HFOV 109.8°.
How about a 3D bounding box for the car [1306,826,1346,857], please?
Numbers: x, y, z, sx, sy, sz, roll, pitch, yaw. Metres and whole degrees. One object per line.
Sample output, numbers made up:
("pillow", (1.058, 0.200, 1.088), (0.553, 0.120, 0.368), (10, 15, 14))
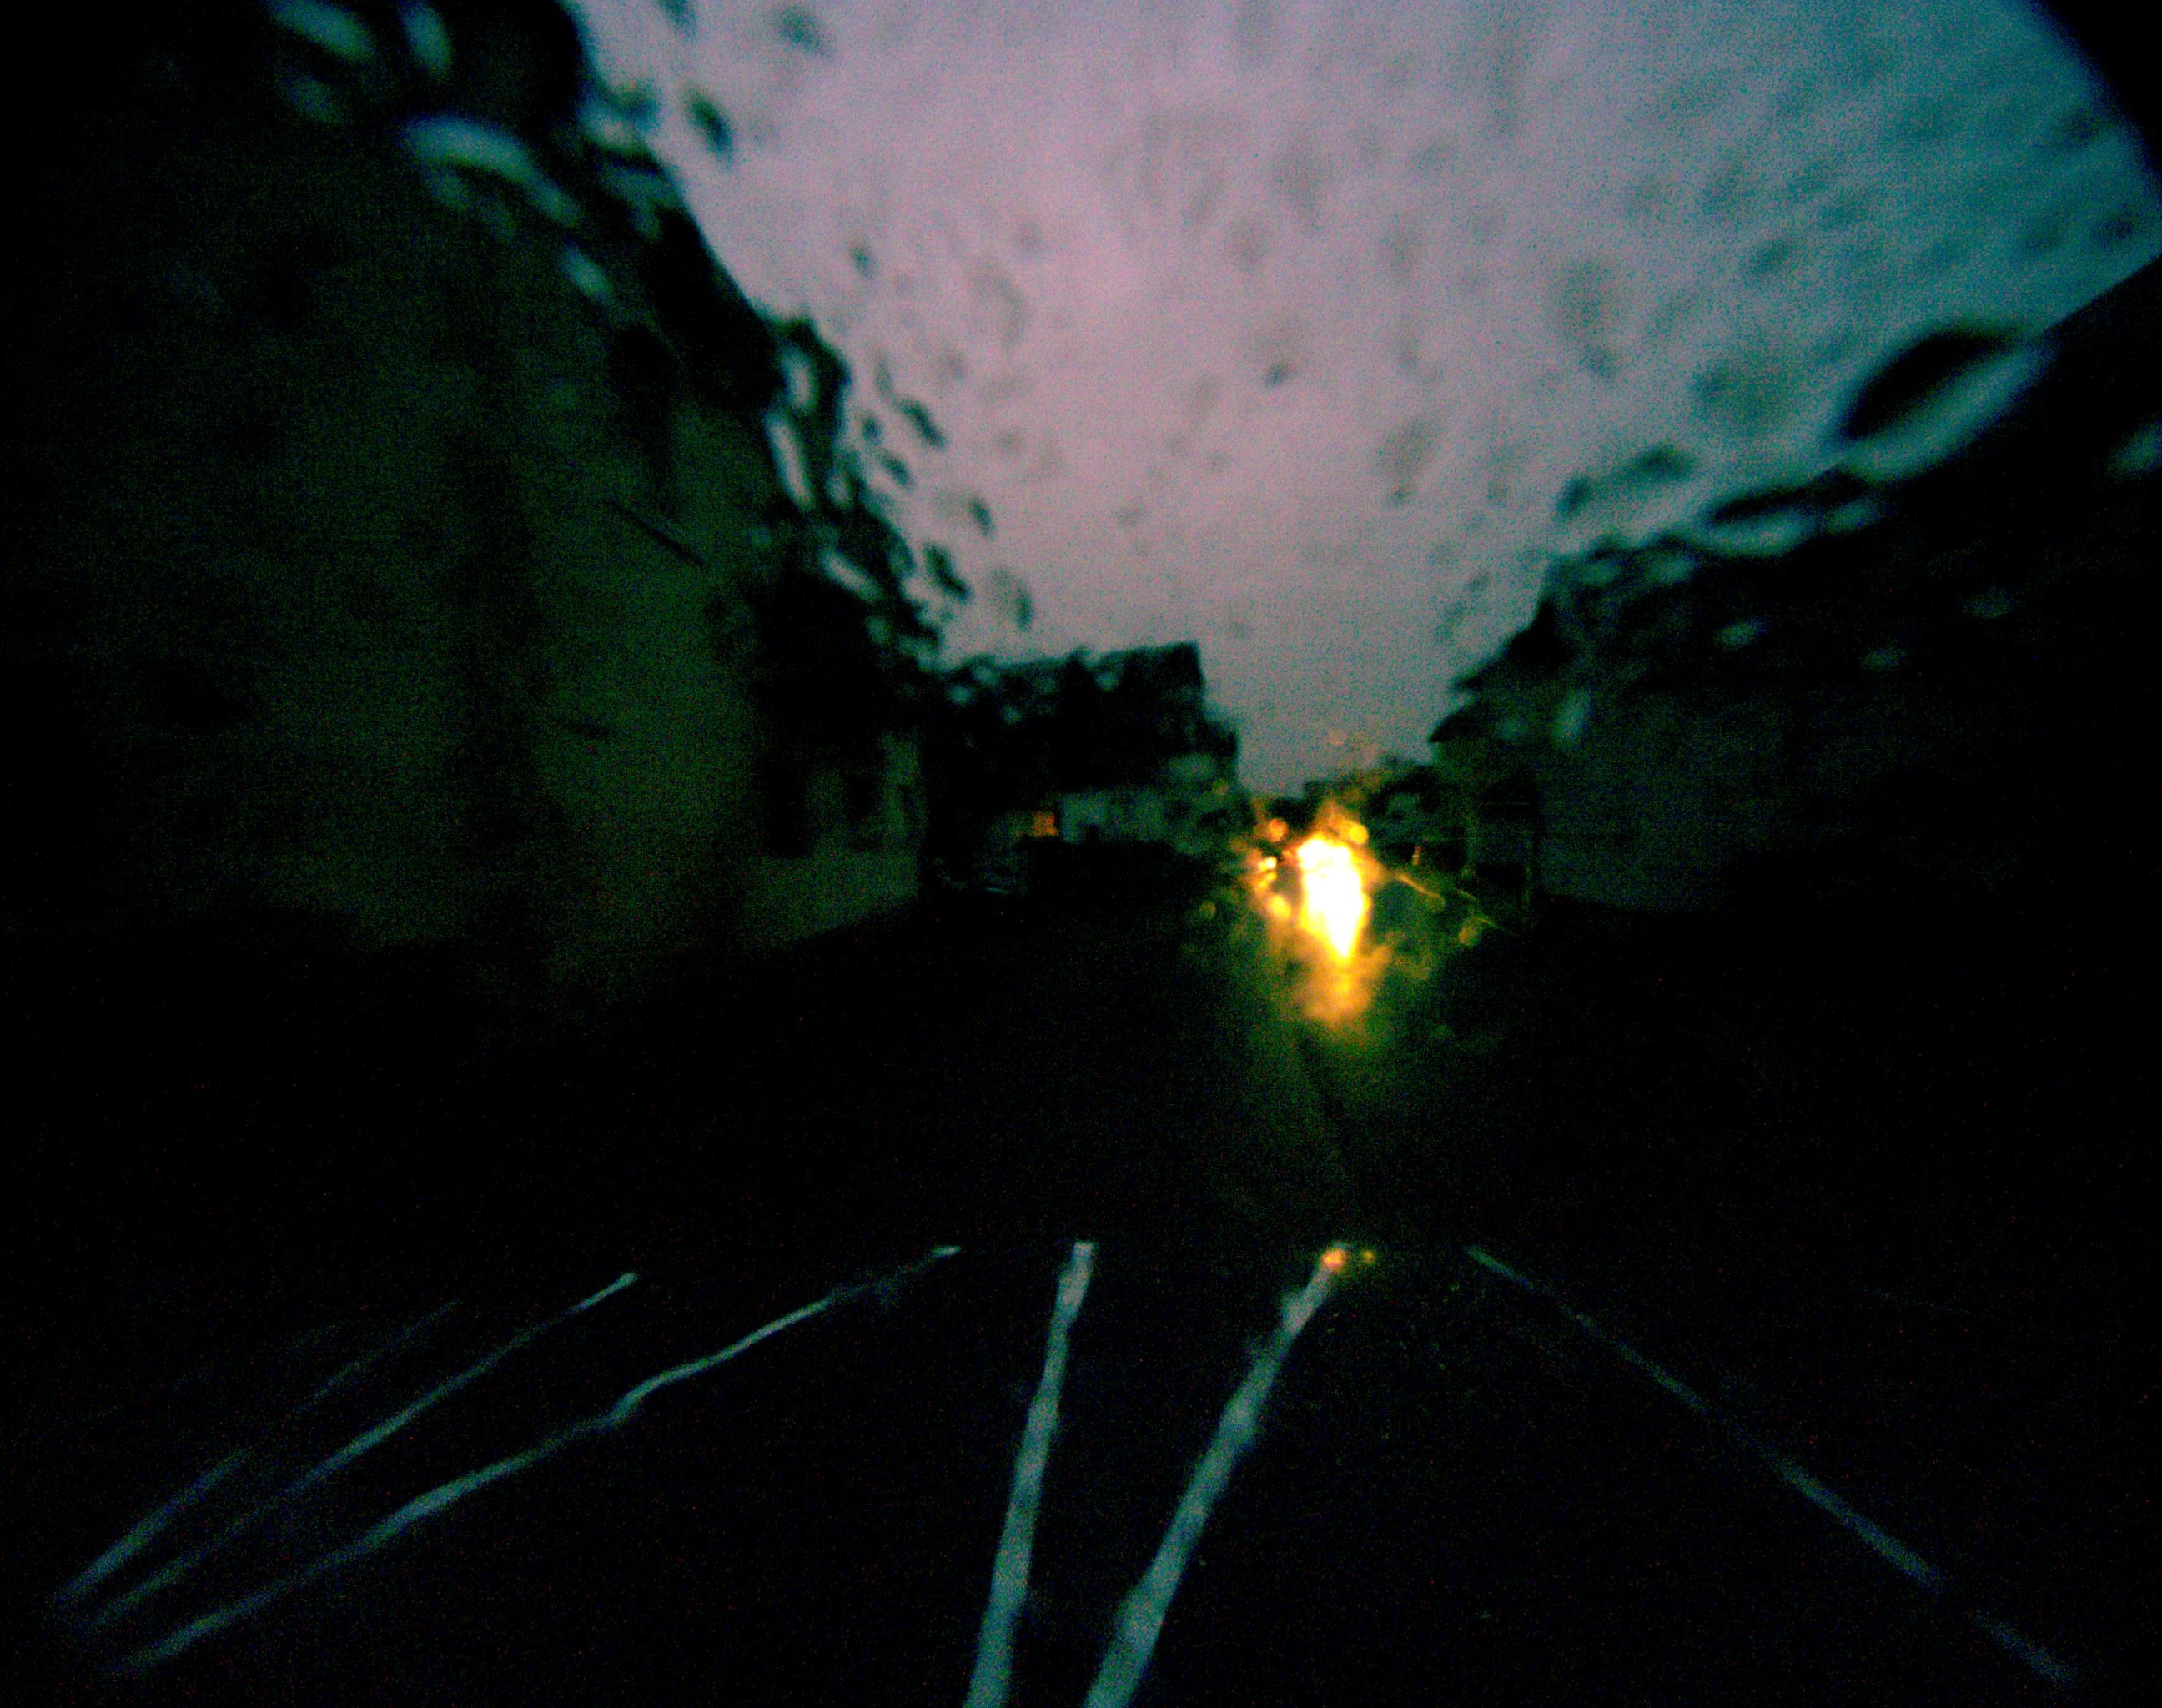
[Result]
("car", (13.793, -0.724, 42.953), (1.989, 1.549, 4.239), (-4, 1, 16))

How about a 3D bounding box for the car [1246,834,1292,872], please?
("car", (8.651, -0.085, 34.739), (1.640, 1.463, 4.004), (-4, 1, 19))

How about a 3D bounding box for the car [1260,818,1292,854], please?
("car", (14.615, -1.357, 56.792), (2.012, 2.440, 5.619), (-4, 1, 16))

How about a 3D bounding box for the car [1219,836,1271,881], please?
("car", (6.486, 0.110, 29.805), (1.640, 1.485, 4.003), (-4, 1, 16))

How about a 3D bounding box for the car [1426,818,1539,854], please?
("car", (19.114, -0.853, 36.403), (4.608, 1.462, 1.894), (-2, 2, 23))

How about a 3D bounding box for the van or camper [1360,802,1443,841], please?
("van or camper", (26.235, -2.644, 62.471), (6.066, 2.926, 2.326), (-1, 2, 17))

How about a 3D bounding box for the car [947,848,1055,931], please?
("car", (-1.659, 0.689, 17.266), (1.811, 1.479, 4.277), (-1, 3, 2))

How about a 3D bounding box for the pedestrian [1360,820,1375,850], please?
("pedestrian", (19.955, -1.340, 52.919), (0.784, 2.002, 0.870), (-5, 2, 17))

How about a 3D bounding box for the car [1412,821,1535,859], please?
("car", (17.441, -0.642, 34.024), (4.599, 1.462, 2.002), (-2, 2, 19))

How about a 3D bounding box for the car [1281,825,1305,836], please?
("car", (38.159, -4.173, 136.732), (3.991, 1.652, 1.757), (-4, 1, 23))

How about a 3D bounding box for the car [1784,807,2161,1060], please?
("car", (7.738, 0.399, 6.105), (1.621, 1.413, 3.807), (-4, 2, 19))

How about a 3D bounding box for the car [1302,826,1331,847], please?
("car", (19.472, -1.478, 62.974), (1.989, 1.549, 4.239), (-4, 1, 14))
